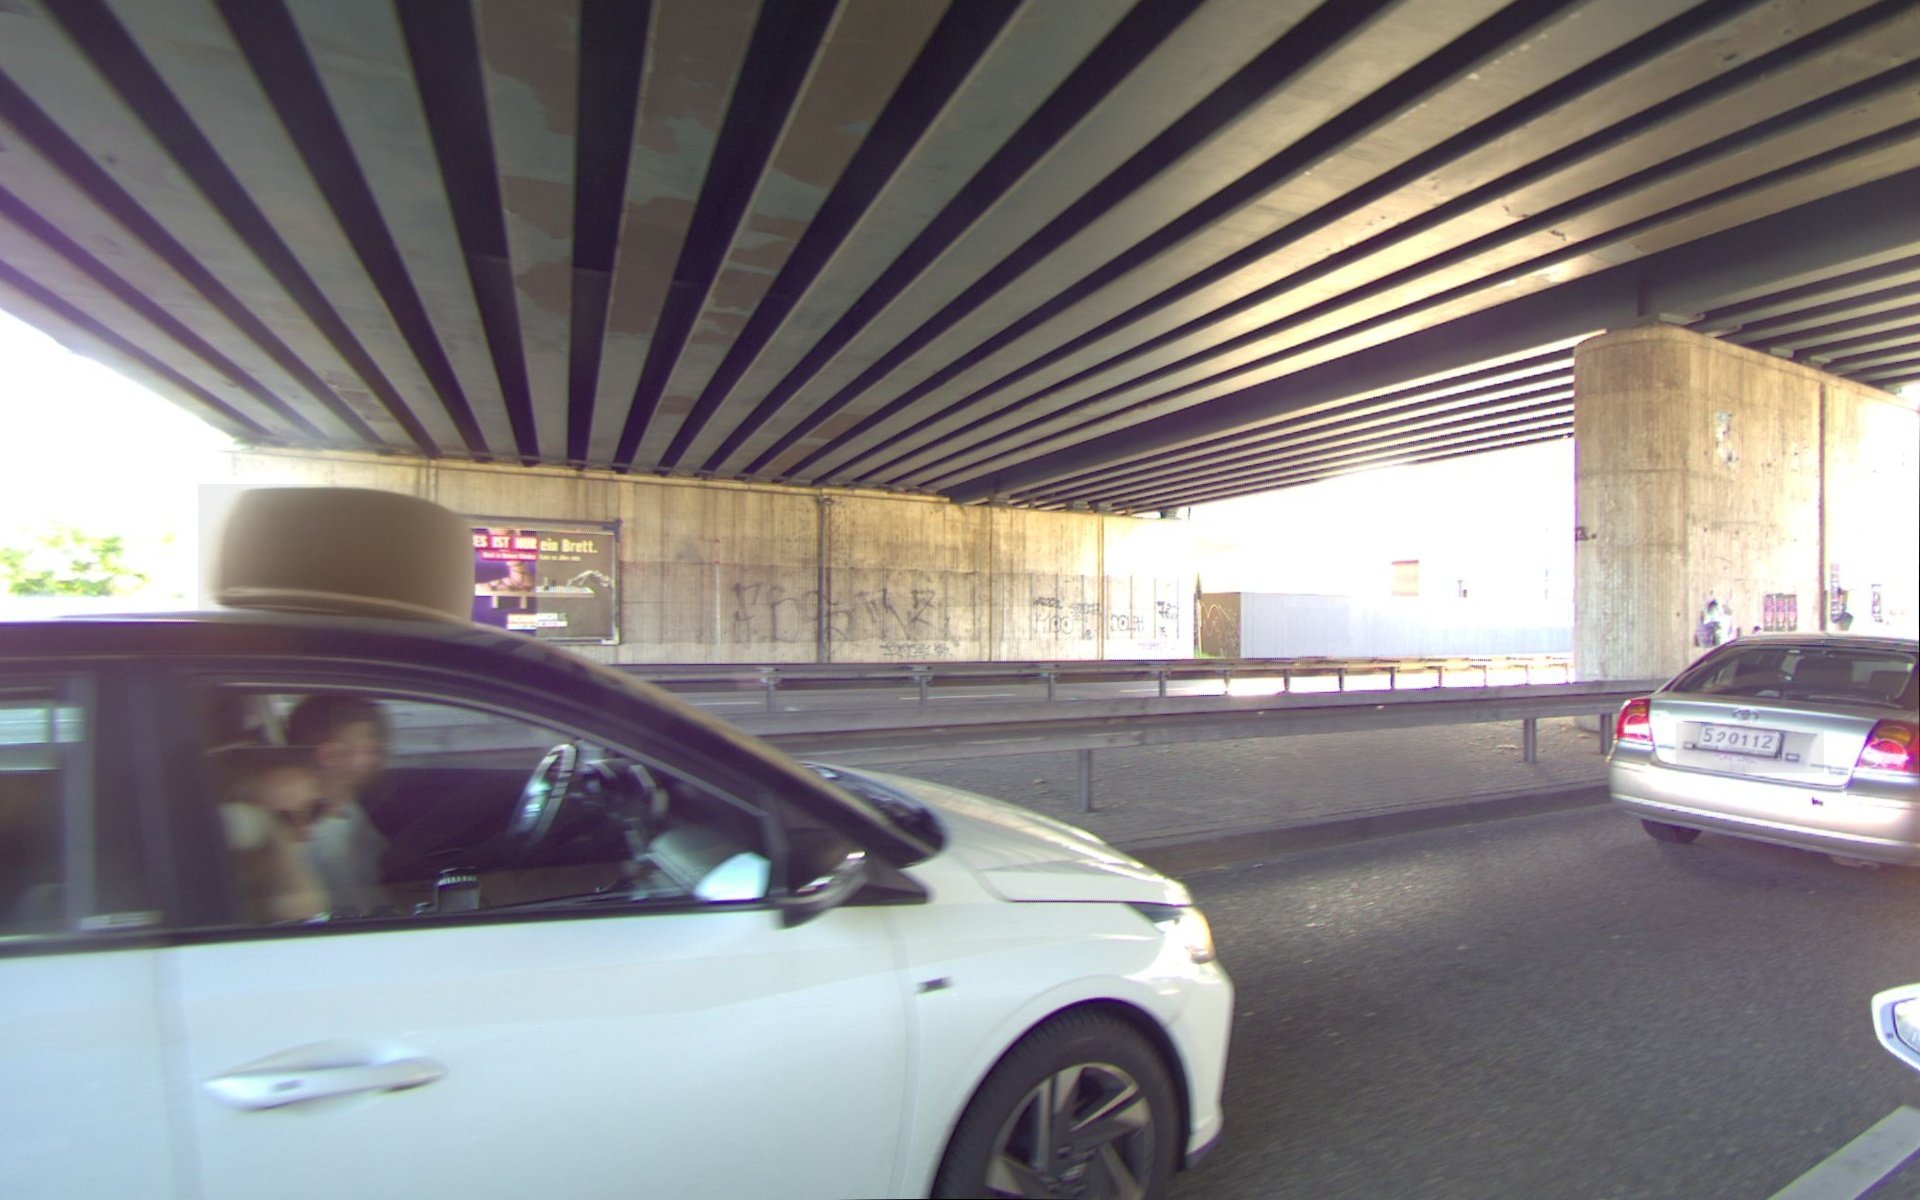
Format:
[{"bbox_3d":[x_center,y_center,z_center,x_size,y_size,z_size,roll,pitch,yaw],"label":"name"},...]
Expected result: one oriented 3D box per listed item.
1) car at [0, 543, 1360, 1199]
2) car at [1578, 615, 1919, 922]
[{"bbox_3d":[-1.113,0.706,2.109,3.951,1.499,1.722,3,-1,-35],"label":"car"},{"bbox_3d":[6.166,0.907,6.748,4.271,1.499,1.724,2,-1,-32],"label":"car"}]
